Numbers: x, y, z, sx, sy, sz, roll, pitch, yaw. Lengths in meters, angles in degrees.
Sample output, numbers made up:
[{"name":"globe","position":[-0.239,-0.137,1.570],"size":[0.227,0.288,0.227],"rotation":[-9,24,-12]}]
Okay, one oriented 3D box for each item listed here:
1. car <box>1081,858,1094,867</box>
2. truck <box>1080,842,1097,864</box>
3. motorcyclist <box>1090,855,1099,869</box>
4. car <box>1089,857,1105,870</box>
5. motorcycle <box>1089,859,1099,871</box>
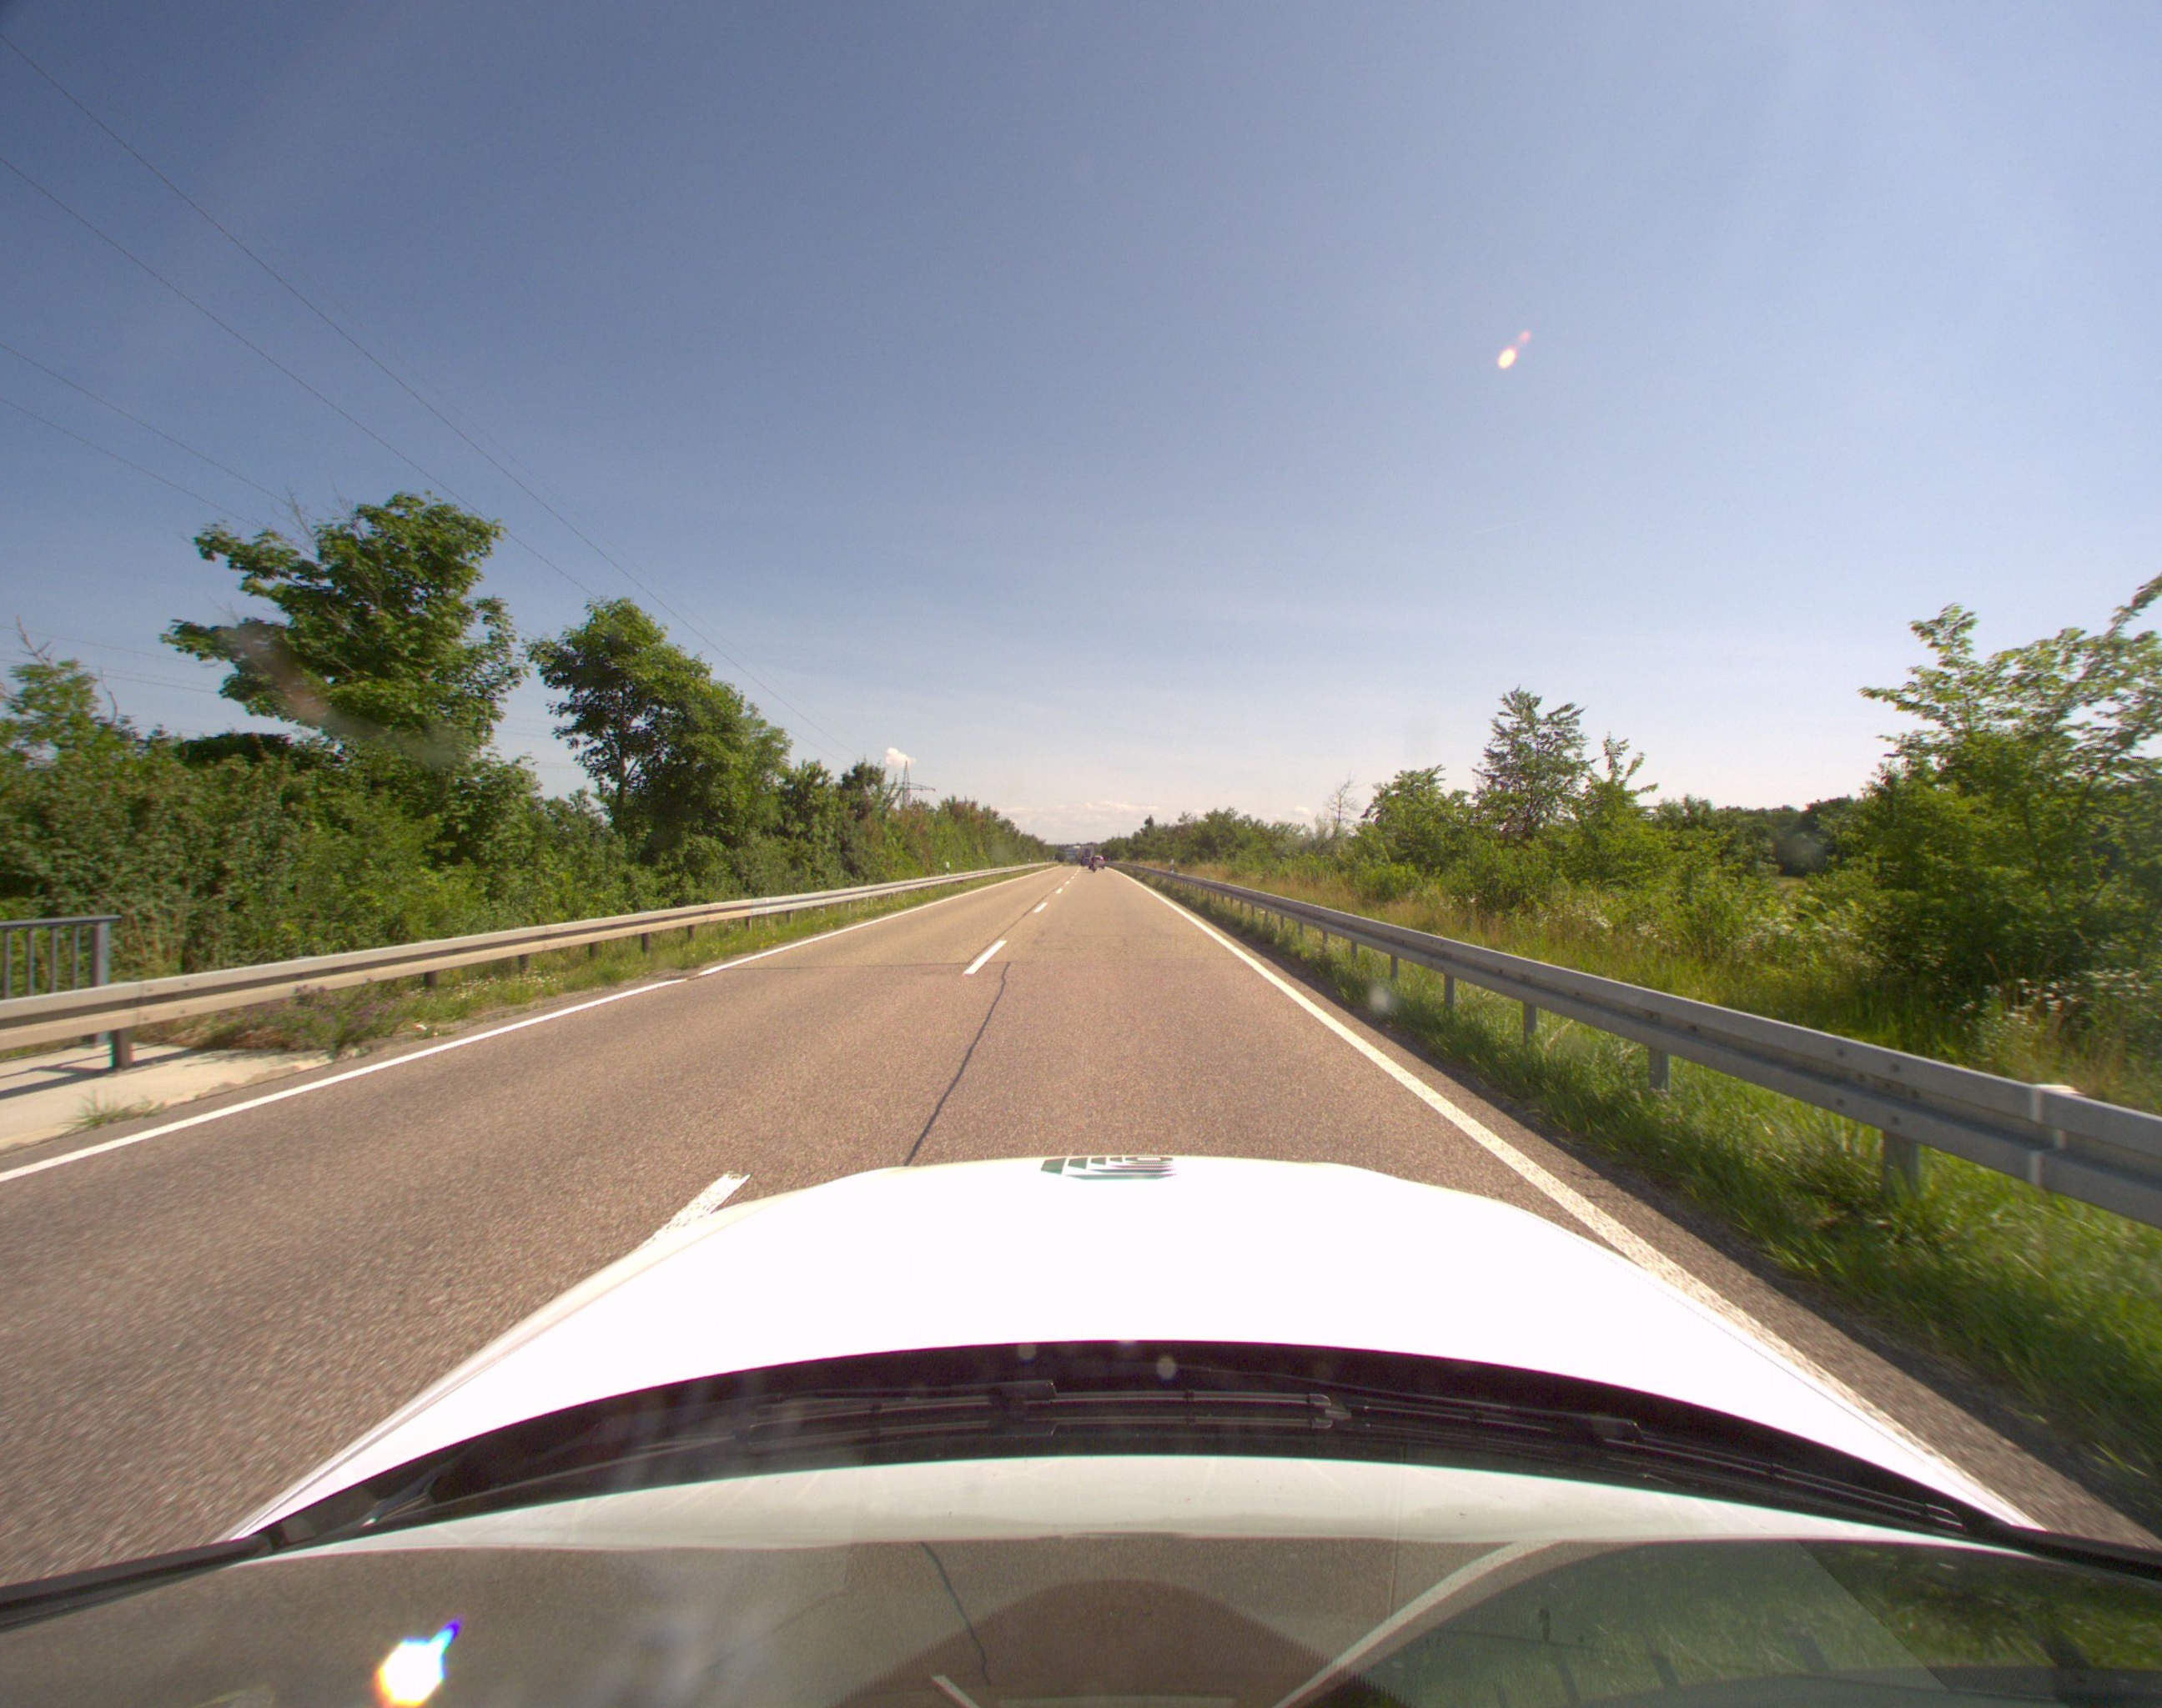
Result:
[{"name":"car","position":[1.074,1.325,129.139],"size":[1.858,1.420,4.004],"rotation":[-1,1,3]},{"name":"truck","position":[1.393,-0.257,156.310],"size":[3.232,3.978,9.441],"rotation":[-1,0,0]},{"name":"motorcyclist","position":[1.232,0.742,76.060],"size":[0.777,1.325,0.814],"rotation":[-1,1,3]},{"name":"car","position":[1.881,1.120,96.873],"size":[1.820,1.451,3.999],"rotation":[-1,1,-1]},{"name":"motorcycle","position":[1.225,1.022,76.042],"size":[0.777,0.975,2.364],"rotation":[-1,1,4]}]
